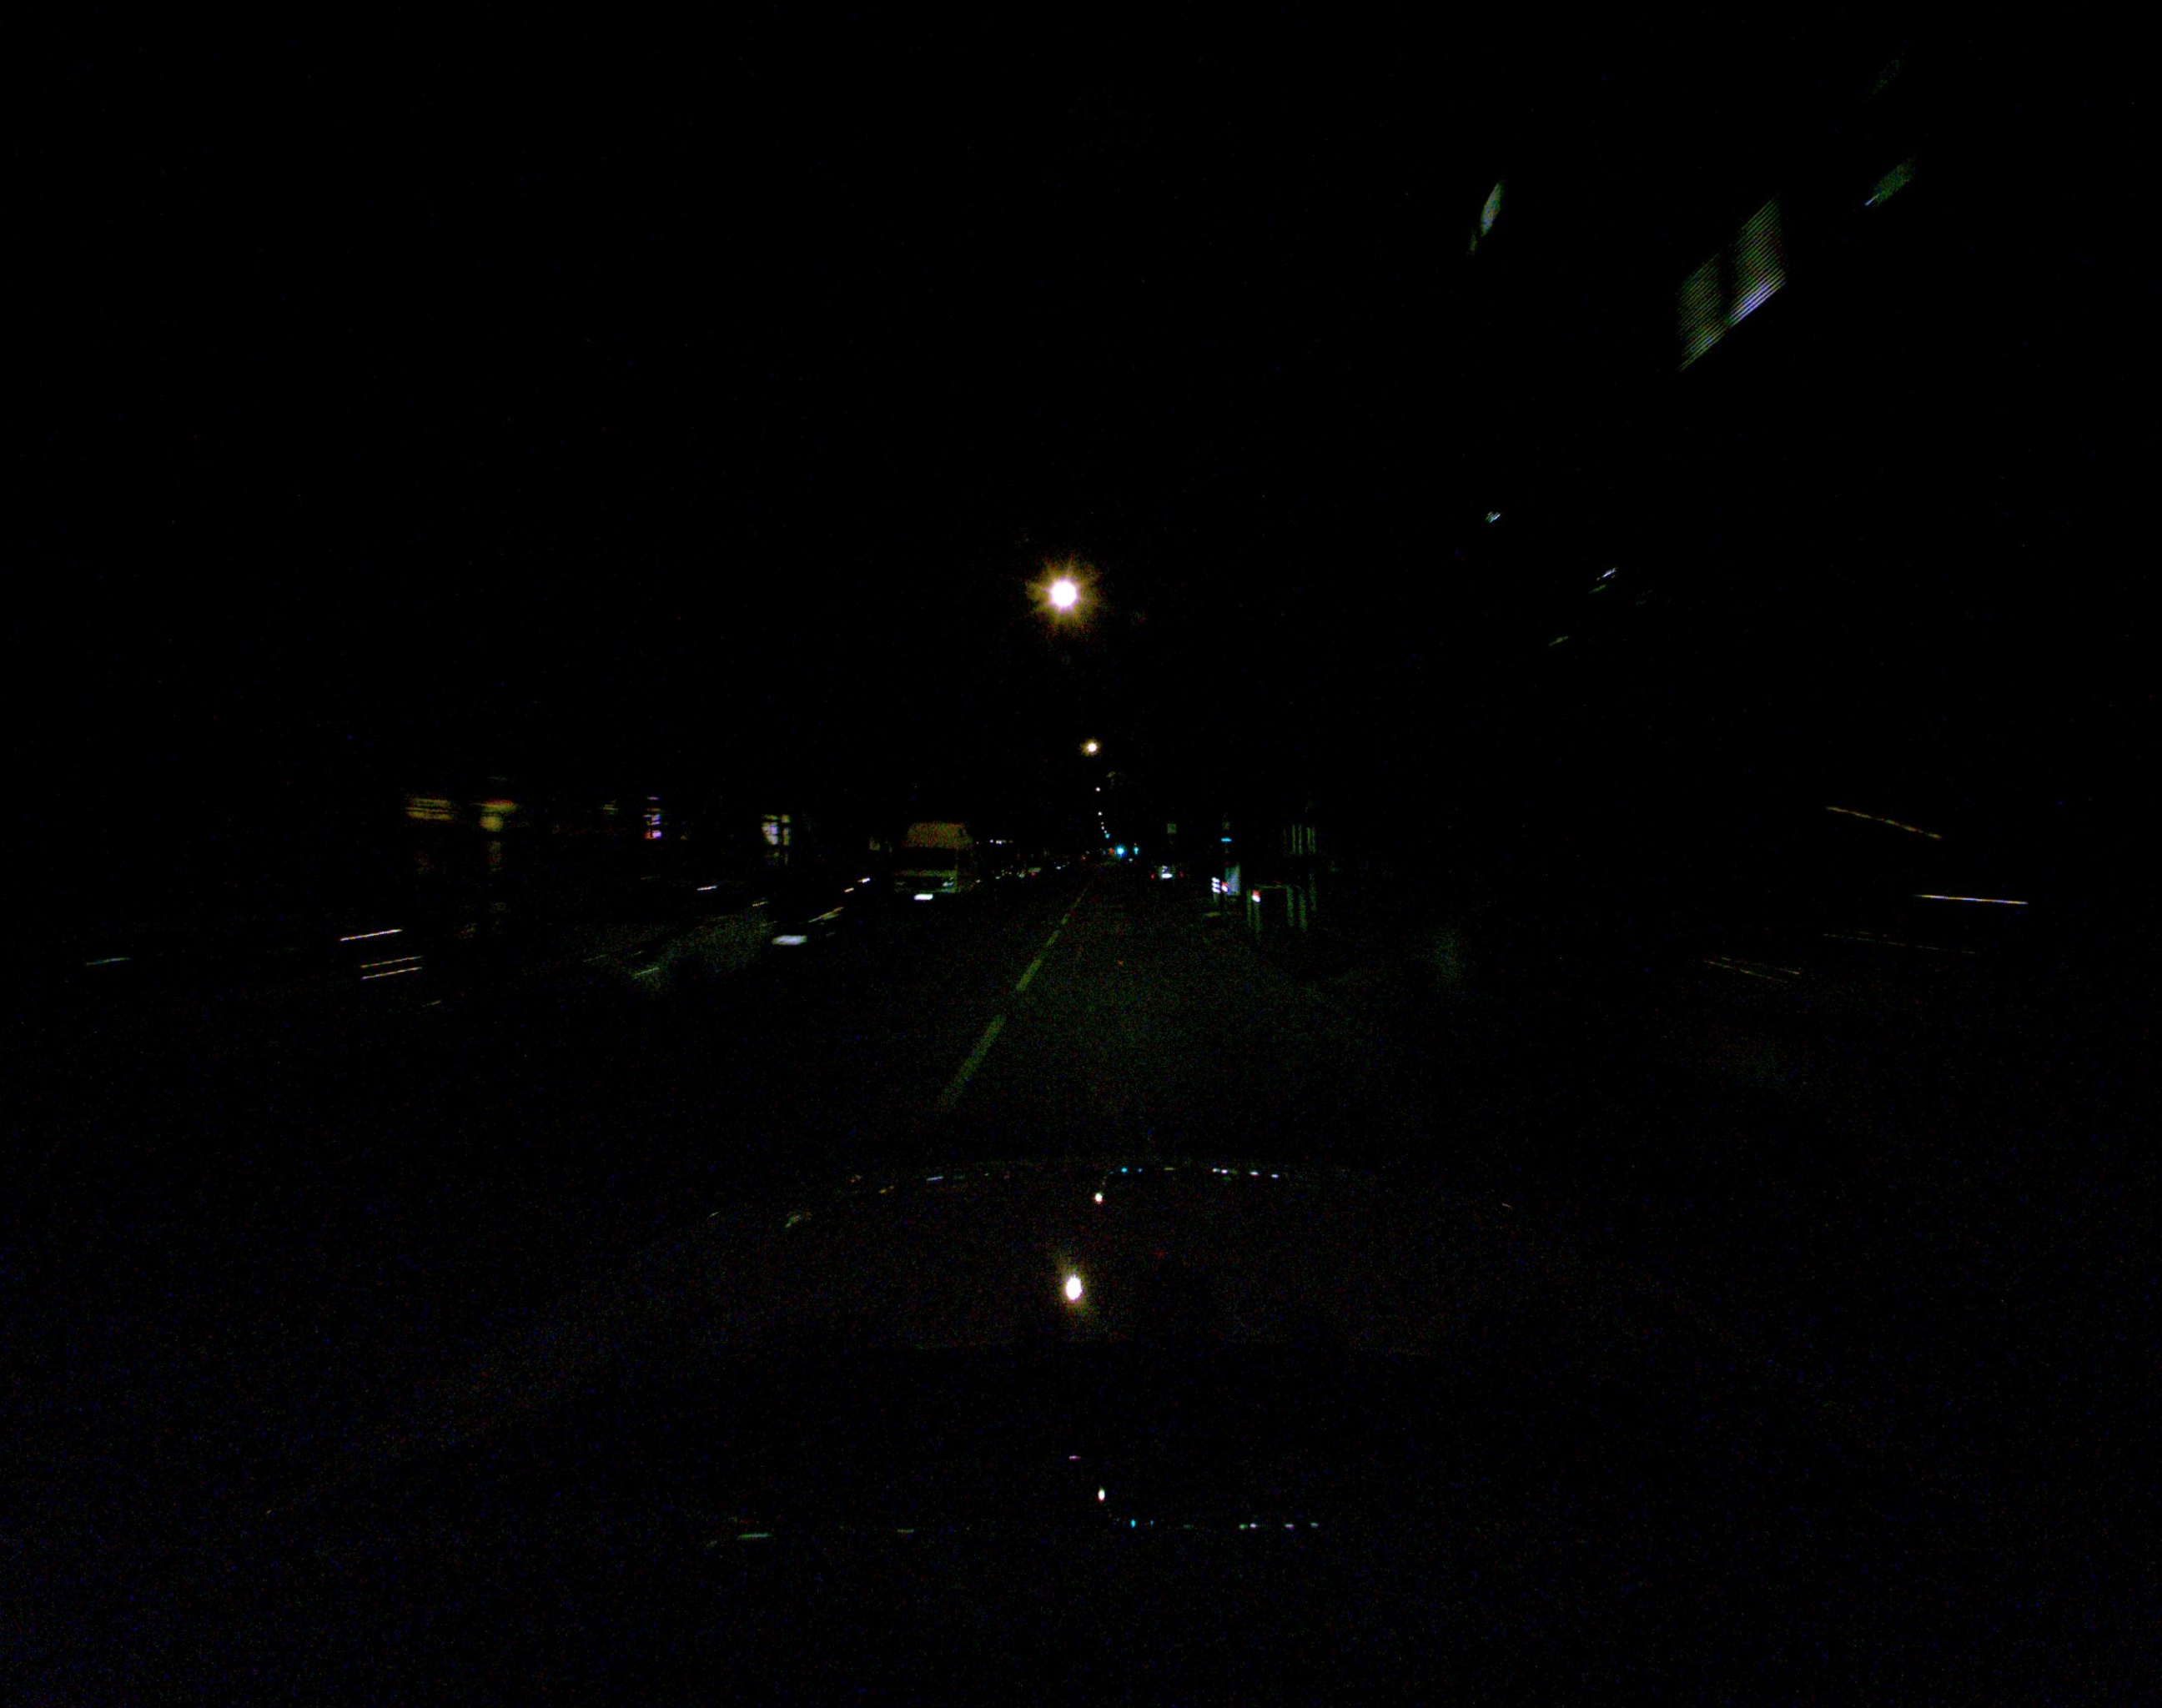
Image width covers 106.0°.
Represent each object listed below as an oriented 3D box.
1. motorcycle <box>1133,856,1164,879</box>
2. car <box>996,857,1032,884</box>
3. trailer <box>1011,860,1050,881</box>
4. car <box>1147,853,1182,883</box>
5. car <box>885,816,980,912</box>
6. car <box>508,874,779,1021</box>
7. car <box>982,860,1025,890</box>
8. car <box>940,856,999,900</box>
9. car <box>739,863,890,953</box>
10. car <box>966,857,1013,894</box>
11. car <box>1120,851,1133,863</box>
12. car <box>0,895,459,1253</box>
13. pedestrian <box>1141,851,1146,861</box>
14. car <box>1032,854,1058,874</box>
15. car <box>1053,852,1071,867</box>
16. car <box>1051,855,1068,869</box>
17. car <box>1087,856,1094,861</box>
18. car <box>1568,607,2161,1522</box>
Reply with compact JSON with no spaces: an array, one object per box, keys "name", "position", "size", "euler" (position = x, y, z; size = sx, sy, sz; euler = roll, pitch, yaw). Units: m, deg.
[{"name":"motorcycle","position":[4.086,0.819,49.666],"size":[0.930,1.283,2.217],"euler":[-2,0,-23]},{"name":"car","position":[-3.948,0.957,48.844],"size":[1.710,1.502,4.206],"euler":[1,0,1]},{"name":"trailer","position":[-3.452,1.083,56.584],"size":[2.102,1.335,5.439],"euler":[1,0,3]},{"name":"car","position":[4.400,0.720,43.339],"size":[1.661,1.429,4.152],"euler":[-4,0,4]},{"name":"car","position":[-4.831,0.312,27.271],"size":[2.171,2.909,4.911],"euler":[0,0,1]},{"name":"car","position":[-5.250,1.032,10.295],"size":[1.542,1.455,3.369],"euler":[0,0,1]},{"name":"car","position":[-4.136,1.086,43.897],"size":[1.698,1.411,4.635],"euler":[-2,0,1]},{"name":"car","position":[-4.428,0.934,32.954],"size":[1.736,1.606,4.117],"euler":[1,0,1]},{"name":"car","position":[-5.130,0.973,16.211],"size":[1.640,1.505,3.861],"euler":[1,0,1]},{"name":"car","position":[-4.247,0.959,38.312],"size":[1.736,1.606,4.297],"euler":[0,0,0]},{"name":"car","position":[6.351,0.366,114.064],"size":[1.846,1.654,4.212],"euler":[-1,0,2]},{"name":"car","position":[-5.474,1.039,4.207],"size":[1.439,1.429,3.904],"euler":[1,0,1]},{"name":"pedestrian","position":[10.472,0.304,136.602],"size":[0.702,1.721,0.822],"euler":[-3,0,2]},{"name":"car","position":[-3.124,0.866,71.512],"size":[1.815,1.599,4.076],"euler":[1,0,3]},{"name":"car","position":[-2.307,0.632,100.460],"size":[1.815,1.811,4.213],"euler":[1,0,3]},{"name":"car","position":[-2.453,0.891,93.527],"size":[1.693,1.433,3.831],"euler":[1,0,3]},{"name":"car","position":[2.601,1.178,221.798],"size":[1.734,1.416,3.754],"euler":[-1,0,2]},{"name":"car","position":[3.277,0.436,1.547],"size":[1.944,1.964,4.603],"euler":[-1,0,0]}]
